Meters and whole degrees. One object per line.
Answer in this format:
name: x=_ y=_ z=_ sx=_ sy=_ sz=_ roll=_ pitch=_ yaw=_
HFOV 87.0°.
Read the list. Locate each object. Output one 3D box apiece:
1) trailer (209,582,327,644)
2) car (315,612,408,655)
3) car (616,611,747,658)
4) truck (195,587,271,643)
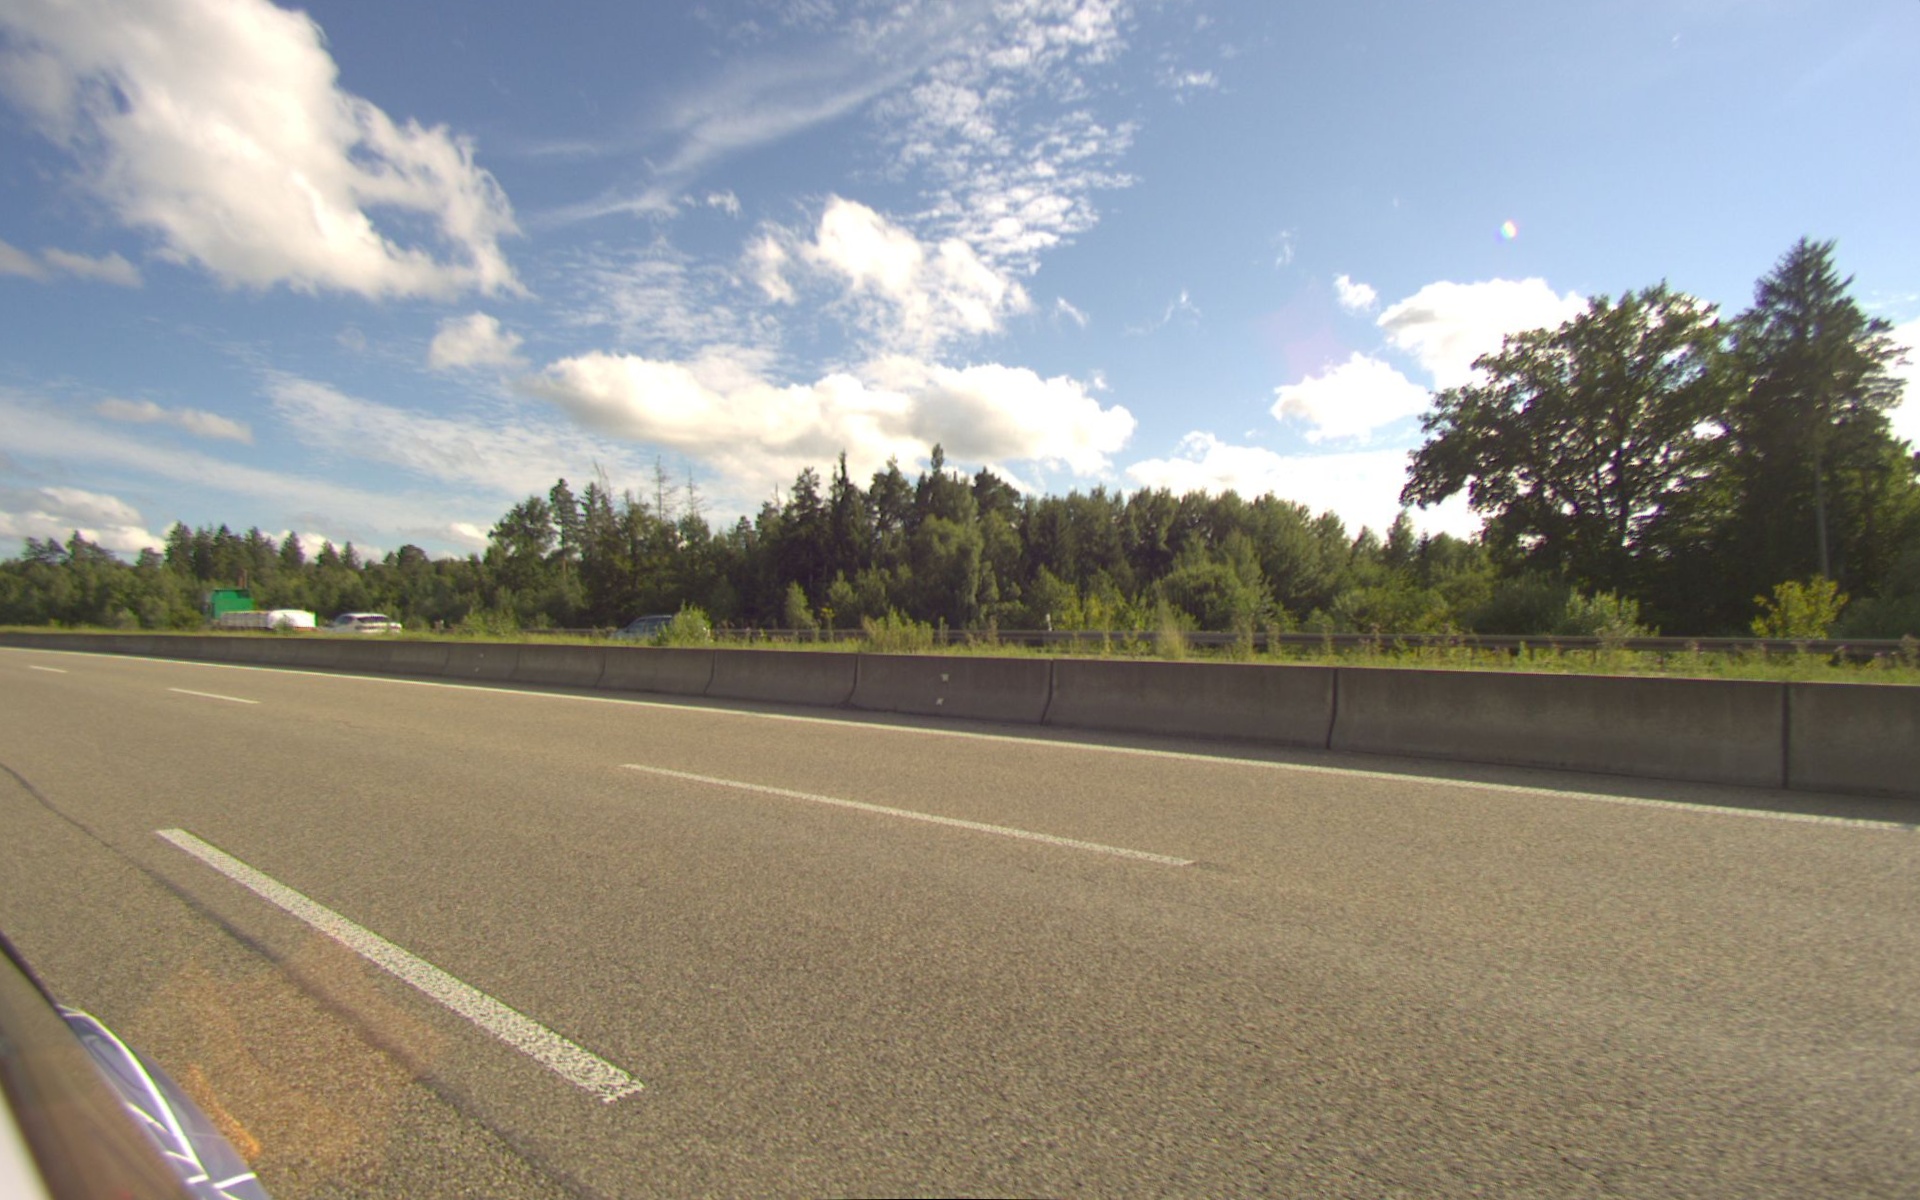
trailer: x=-48.716 y=0.956 z=70.973 sx=13.629 sy=4.039 sz=3.341 roll=-2 pitch=-1 yaw=40
car: x=-24.214 y=1.328 z=40.882 sx=4.461 sy=1.621 sz=1.906 roll=-1 pitch=-1 yaw=41
car: x=-9.140 y=1.109 z=33.039 sx=4.461 sy=1.413 sz=1.973 roll=-1 pitch=-1 yaw=41
truck: x=-54.664 y=1.105 z=76.034 sx=5.859 sy=4.039 sz=3.341 roll=-2 pitch=-1 yaw=40
